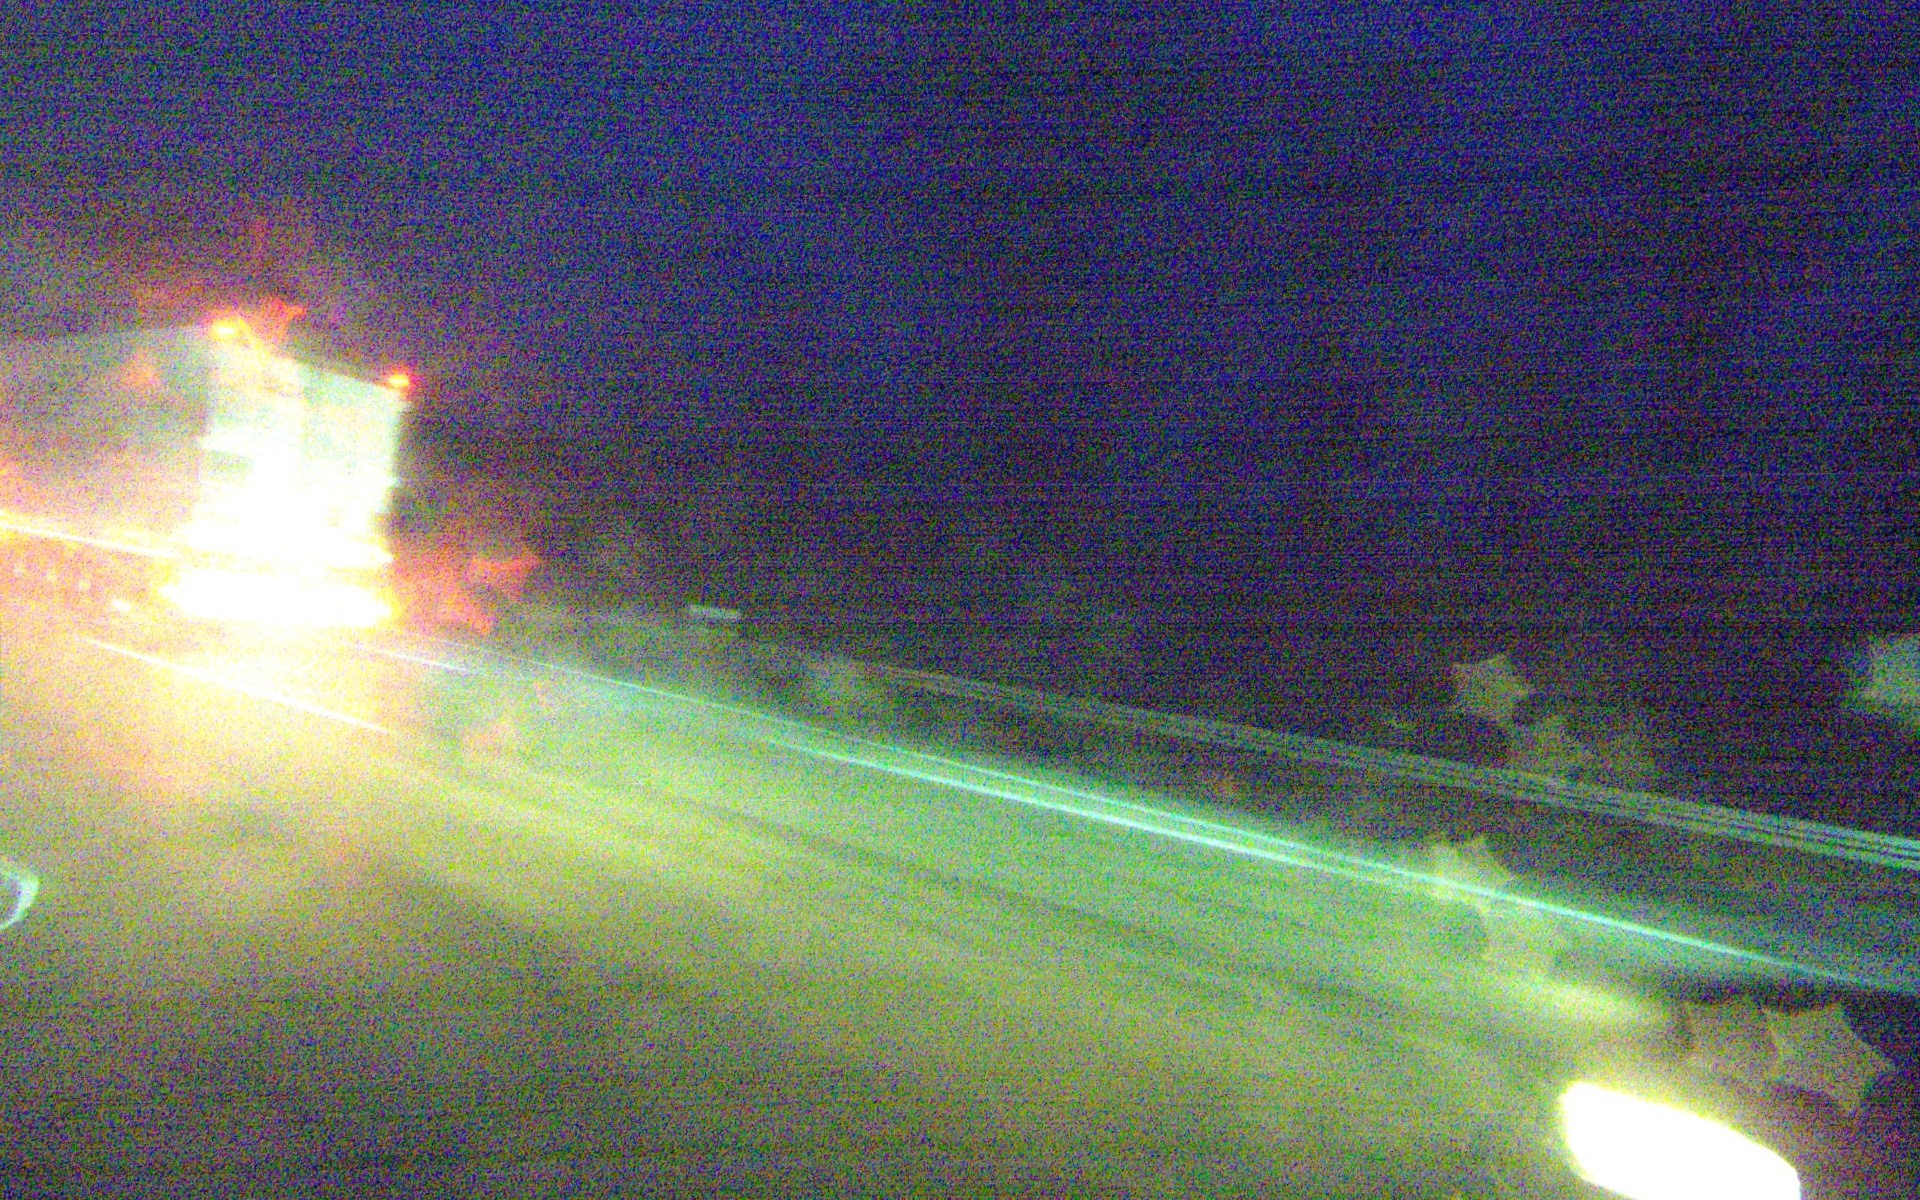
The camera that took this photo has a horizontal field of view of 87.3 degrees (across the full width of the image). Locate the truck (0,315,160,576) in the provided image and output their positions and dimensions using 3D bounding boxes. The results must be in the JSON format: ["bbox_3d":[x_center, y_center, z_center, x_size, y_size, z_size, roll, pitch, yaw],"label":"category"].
[{"bbox_3d":[-19.694,-3.106,20.323,7.324,4.317,2.809,7,-1,31],"label":"truck"}]

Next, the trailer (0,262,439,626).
[{"bbox_3d":[-13.613,-2.443,16.567,11.895,4.261,2.809,7,-1,31],"label":"trailer"}]

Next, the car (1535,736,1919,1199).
[{"bbox_3d":[3.155,1.255,1.628,3.728,1.429,1.616,6,-2,30],"label":"car"}]
